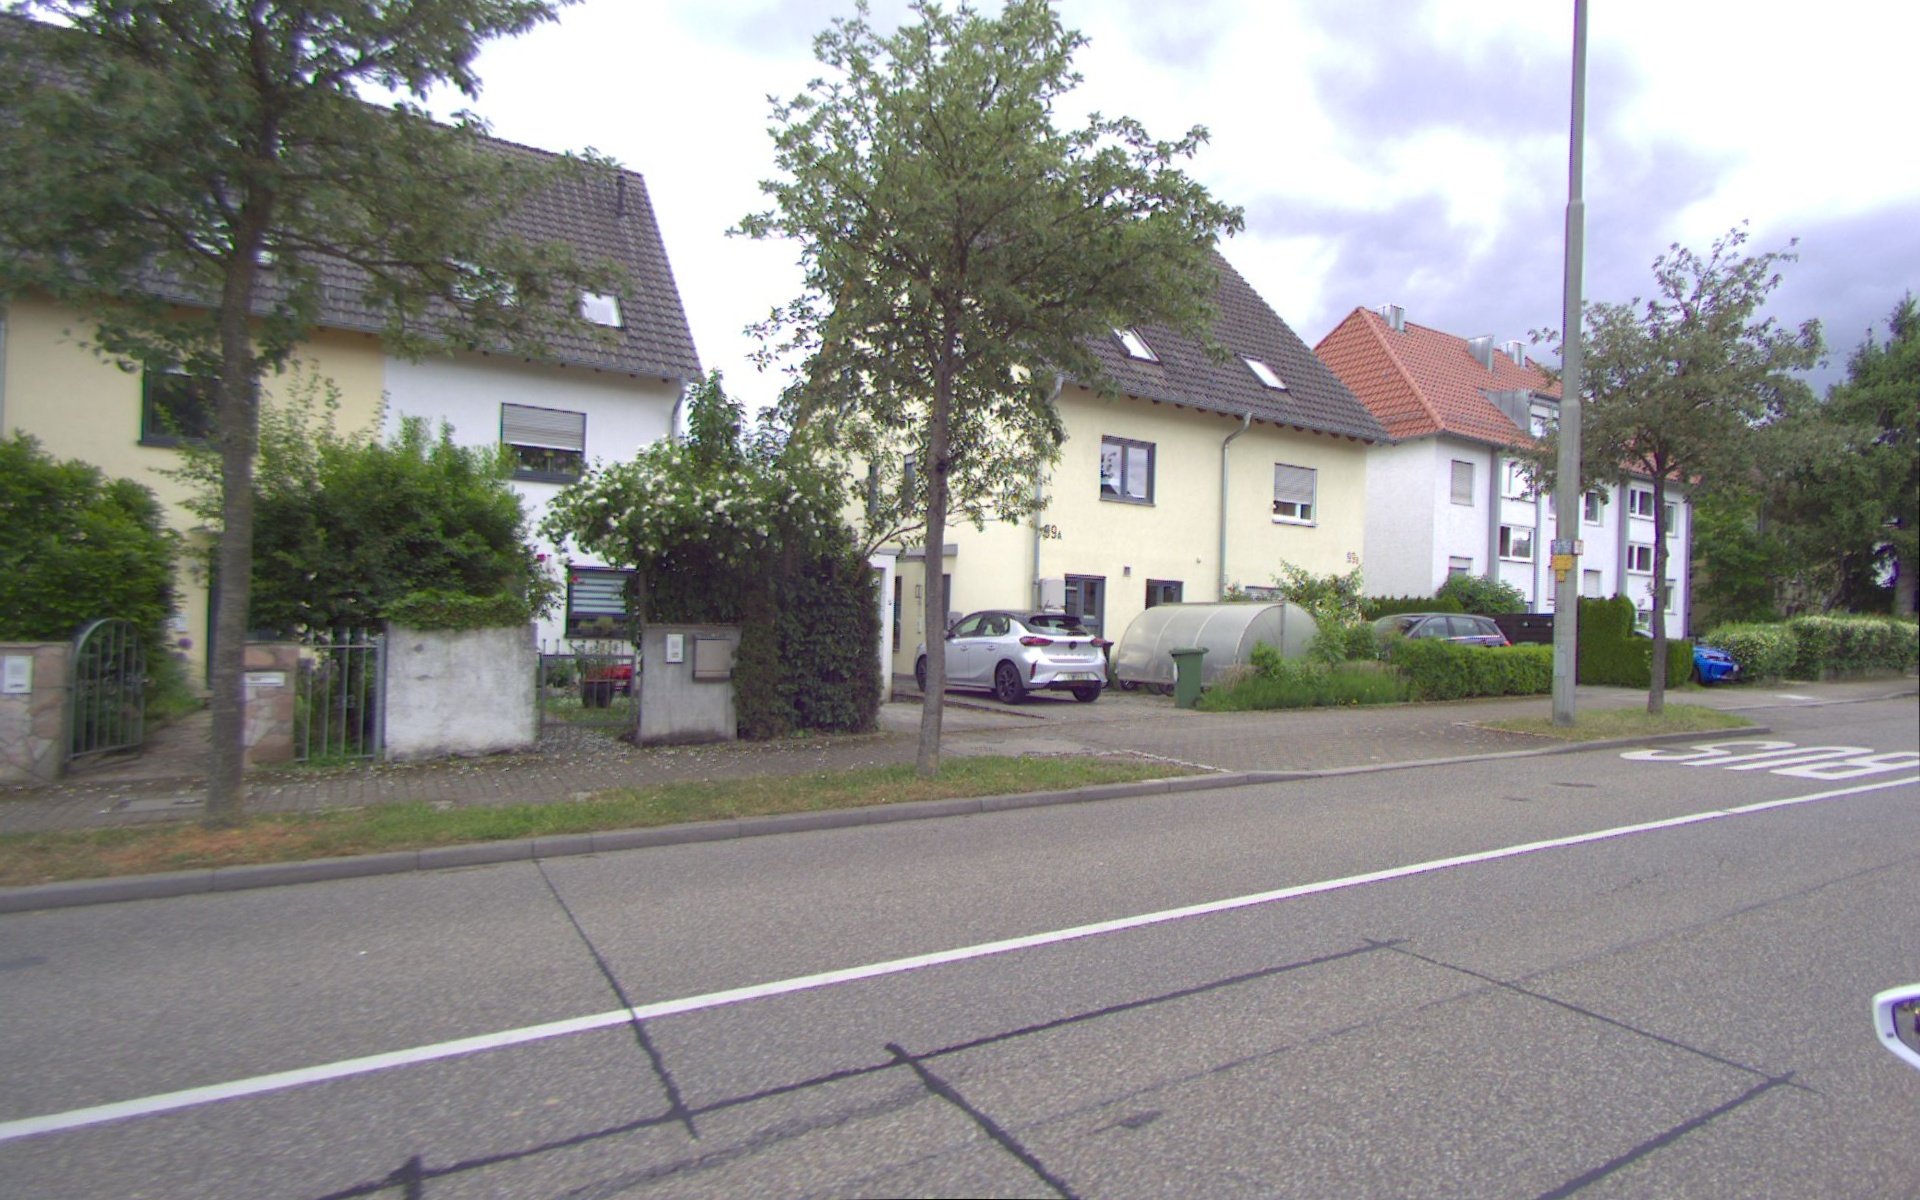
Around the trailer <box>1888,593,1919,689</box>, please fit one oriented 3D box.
[{"bbox_3d":[24.059,1.042,23.261,5.809,2.114,2.299,2,0,-32],"label":"trailer"}]

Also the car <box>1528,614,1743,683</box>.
[{"bbox_3d":[16.076,1.129,24.067,1.565,1.356,3.953,3,0,-40],"label":"car"}]

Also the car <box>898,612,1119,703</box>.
[{"bbox_3d":[0.667,0.869,16.686,1.735,1.303,4.045,2,-1,-31],"label":"car"}]

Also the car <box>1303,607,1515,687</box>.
[{"bbox_3d":[9.055,0.946,20.226,3.950,1.436,1.869,2,0,-28],"label":"car"}]

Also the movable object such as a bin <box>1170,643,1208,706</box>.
[{"bbox_3d":[3.491,1.125,15.305,0.535,0.914,0.579,1,0,13],"label":"movable object such as a bin"}]
